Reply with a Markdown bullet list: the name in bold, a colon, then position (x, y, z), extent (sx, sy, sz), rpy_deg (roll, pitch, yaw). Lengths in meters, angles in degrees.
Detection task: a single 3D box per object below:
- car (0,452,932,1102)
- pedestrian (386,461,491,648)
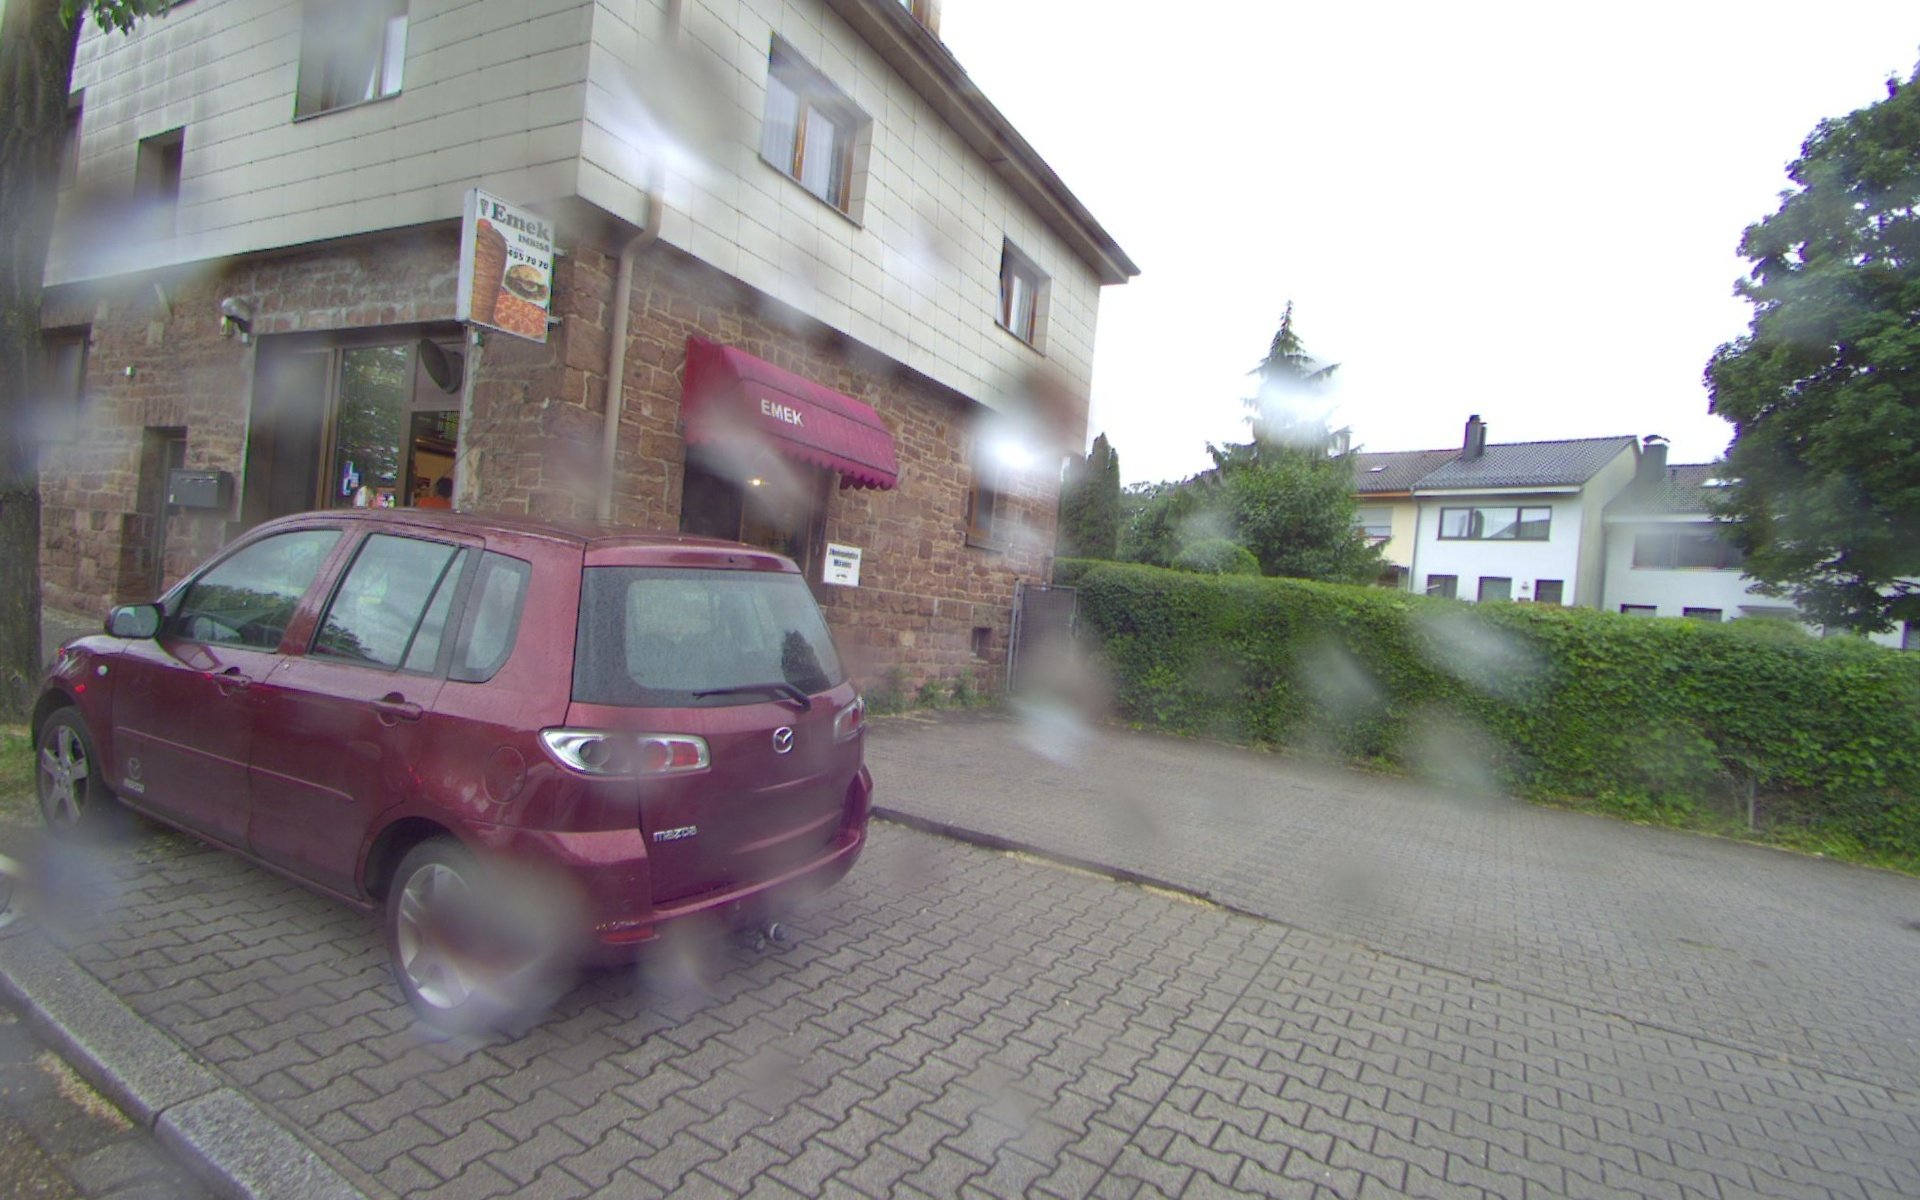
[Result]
- **car**: position (-2.109, 0.350, 4.093), extent (3.564, 1.511, 1.585), rpy_deg (8, 3, 29)
- **pedestrian**: position (-5.464, -0.464, 10.559), extent (0.475, 1.862, 0.638), rpy_deg (7, 0, 31)
